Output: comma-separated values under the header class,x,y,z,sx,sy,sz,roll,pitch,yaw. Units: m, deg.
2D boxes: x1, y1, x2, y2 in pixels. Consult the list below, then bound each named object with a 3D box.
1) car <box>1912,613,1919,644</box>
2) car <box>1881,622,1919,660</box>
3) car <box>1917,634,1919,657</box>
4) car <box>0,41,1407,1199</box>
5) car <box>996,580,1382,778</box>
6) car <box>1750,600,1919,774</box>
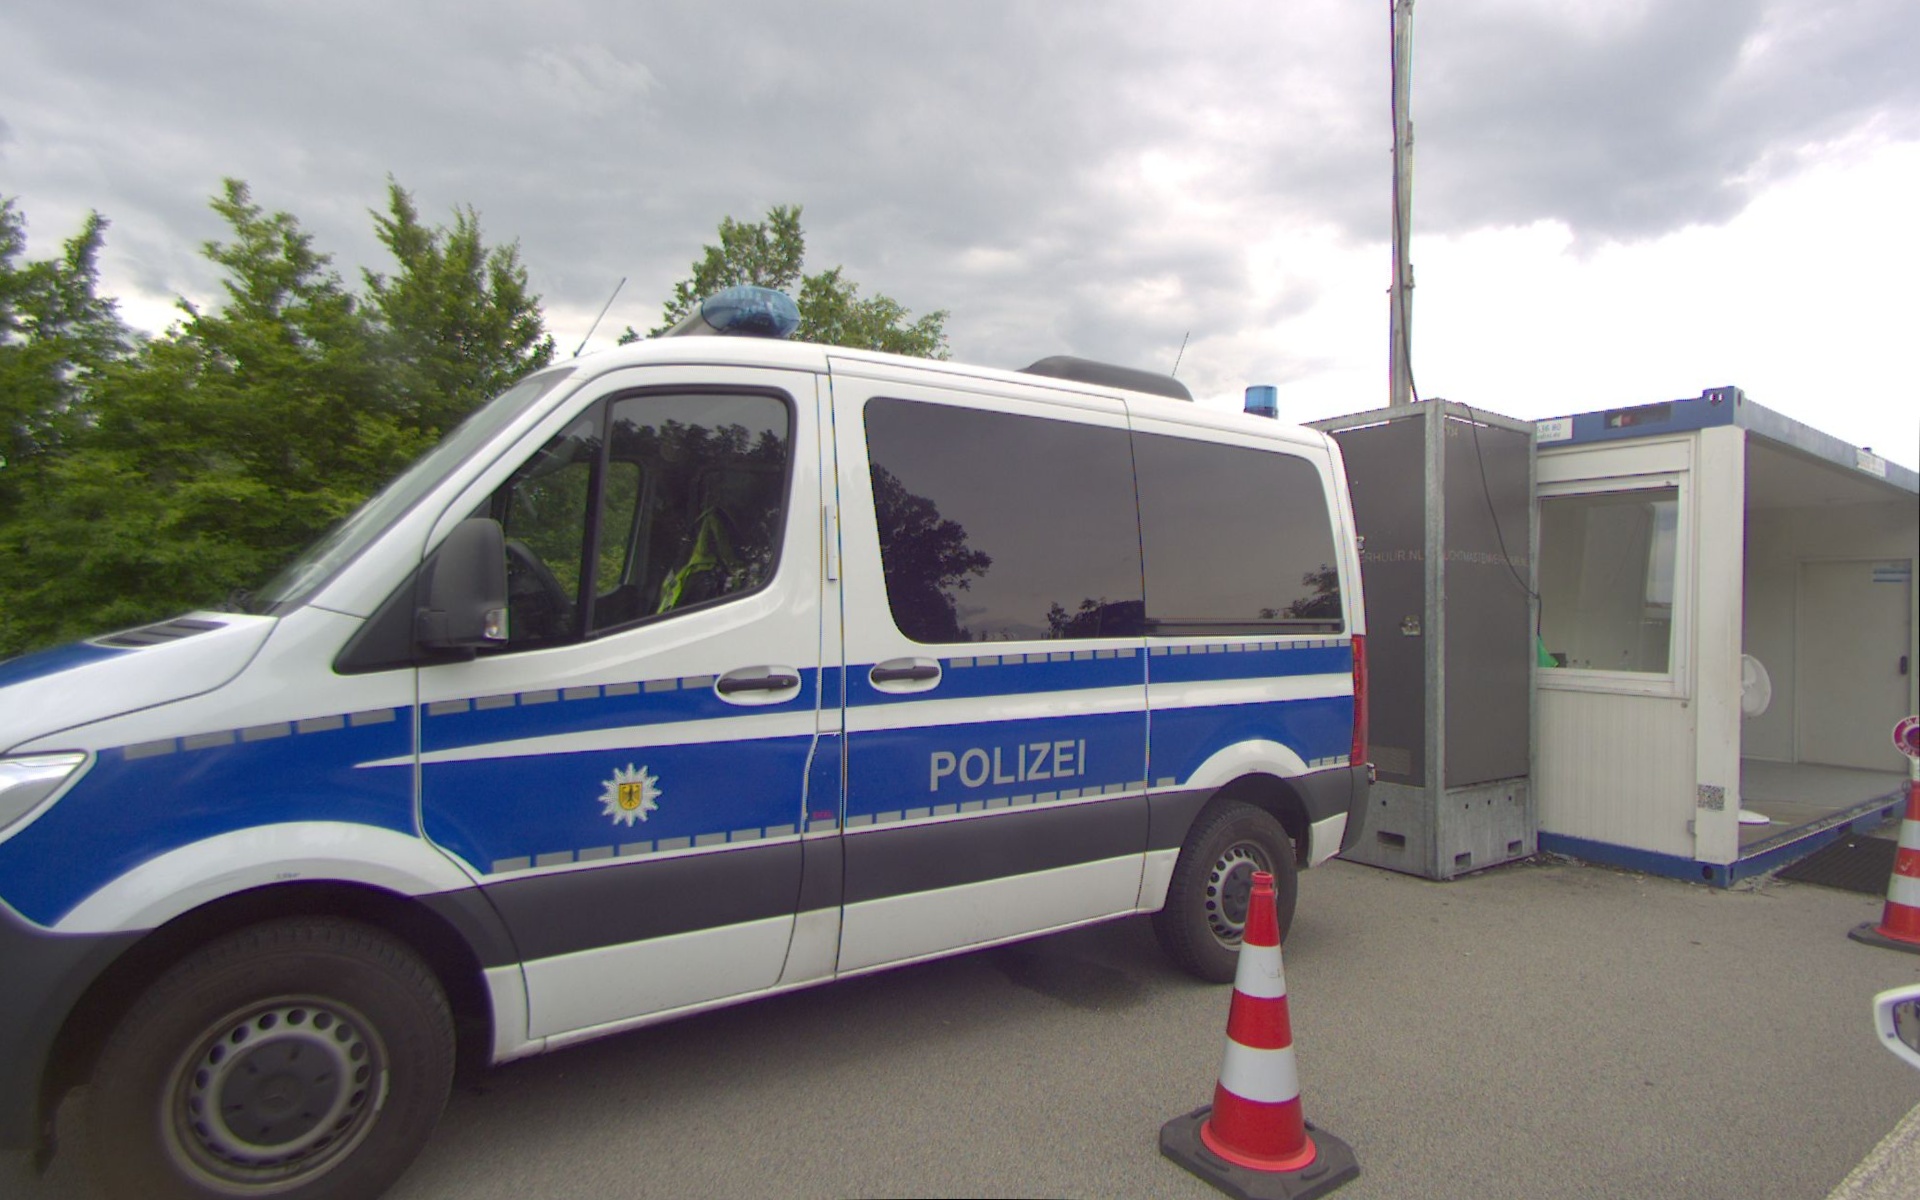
class,x,y,z,sx,sy,sz,roll,pitch,yaw
car,72.382,2.147,75.018,1.836,2.252,4.231,1,-1,44
car,40.577,1.728,42.674,4.227,1.518,1.838,2,-1,-43
car,64.624,3.057,66.441,1.832,1.482,3.975,1,-1,45
car,-0.758,0.230,3.843,5.224,2.496,2.017,2,-1,-34
car,2.534,0.745,10.825,3.966,1.766,1.857,2,-1,-34
car,11.117,0.927,11.727,3.966,1.766,1.857,2,-1,-34
